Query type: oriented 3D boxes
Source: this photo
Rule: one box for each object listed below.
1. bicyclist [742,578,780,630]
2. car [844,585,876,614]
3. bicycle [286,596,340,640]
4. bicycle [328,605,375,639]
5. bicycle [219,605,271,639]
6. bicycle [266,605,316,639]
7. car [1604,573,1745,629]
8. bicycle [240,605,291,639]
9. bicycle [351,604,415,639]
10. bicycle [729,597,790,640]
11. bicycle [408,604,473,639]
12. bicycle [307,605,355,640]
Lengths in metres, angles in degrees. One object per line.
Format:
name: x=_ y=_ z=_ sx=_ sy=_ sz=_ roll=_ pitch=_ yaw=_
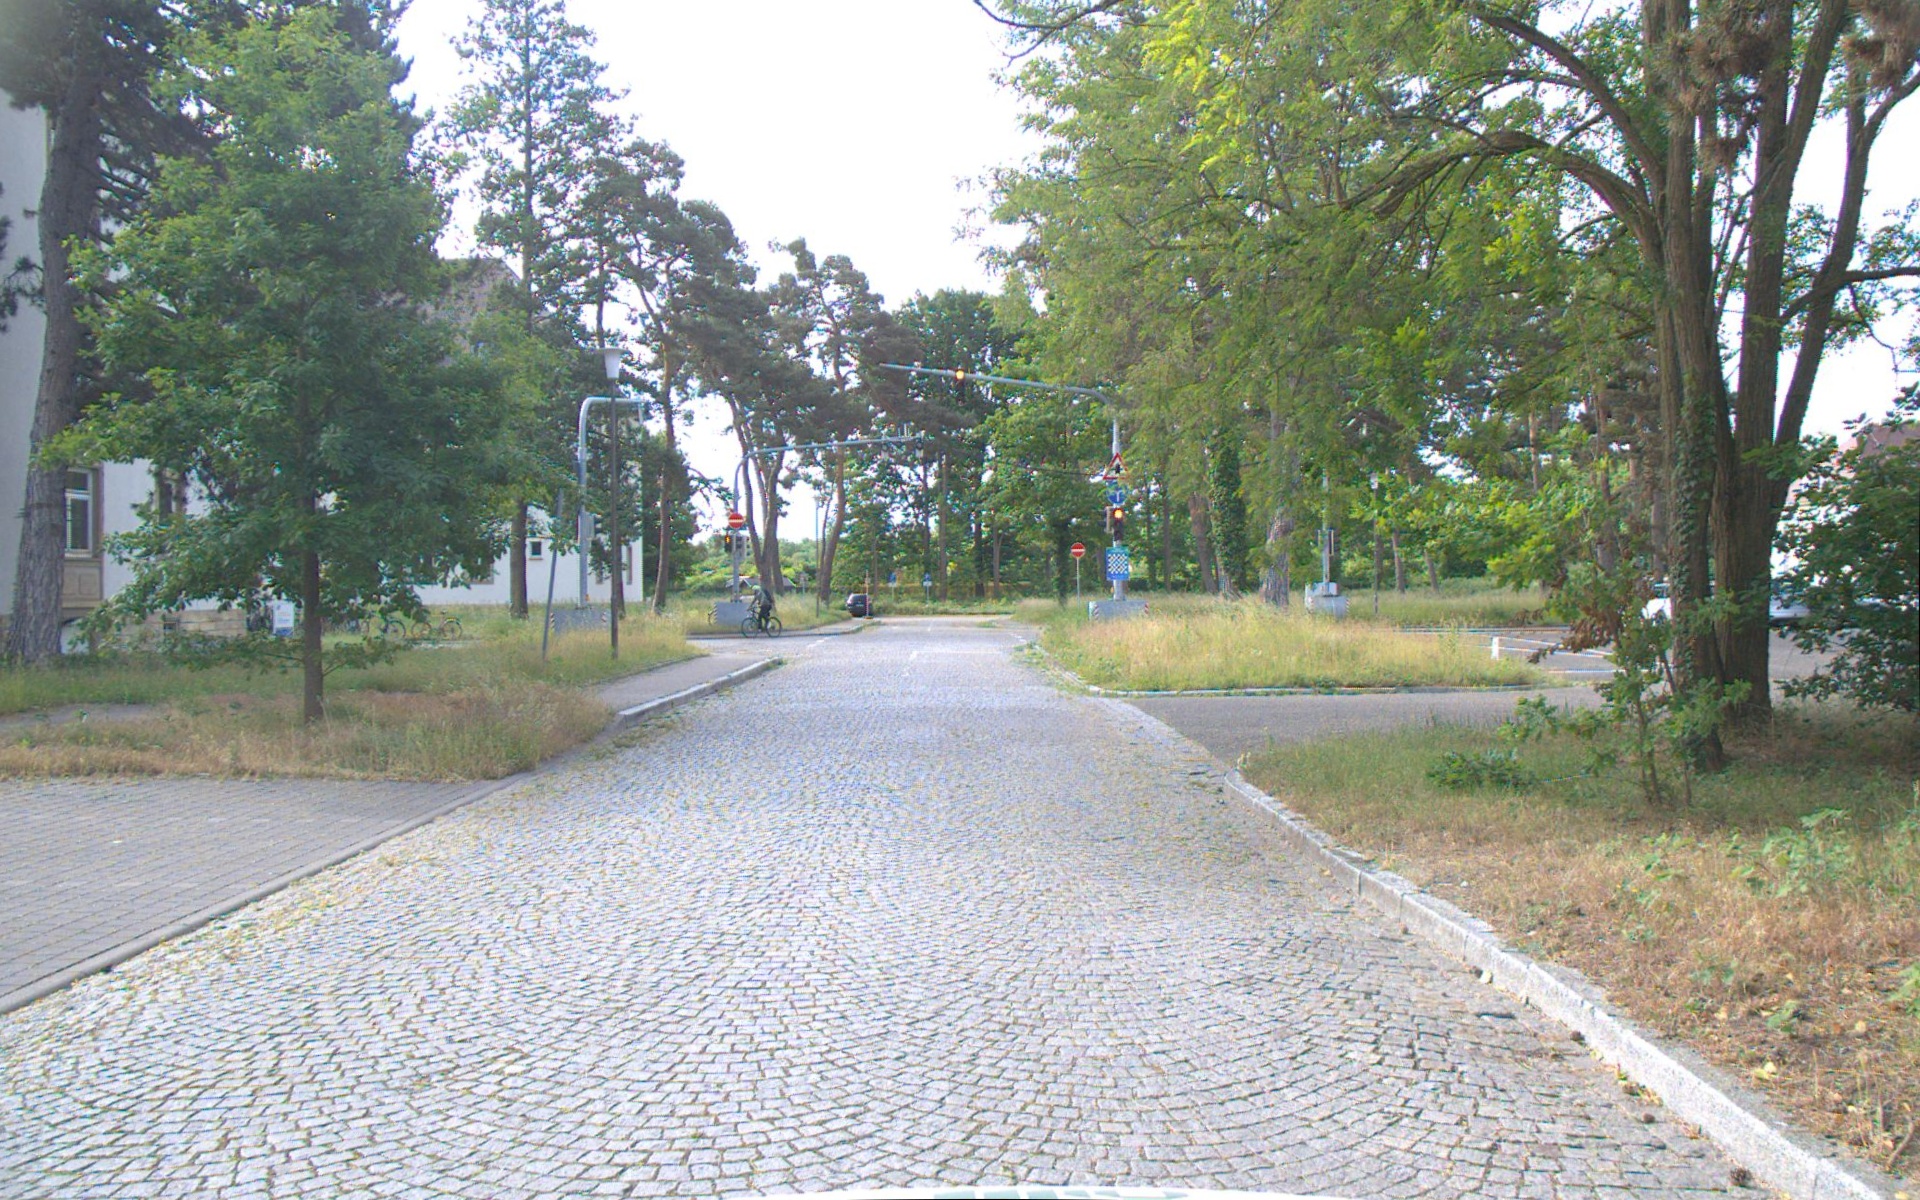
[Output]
bicyclist: x=-6.775 y=0.142 z=56.305 sx=0.936 sy=1.727 sz=0.921 roll=-1 pitch=-1 yaw=31
car: x=-6.714 y=-0.033 z=111.231 sx=2.014 sy=1.878 sz=3.999 roll=-1 pitch=0 yaw=-2
bicycle: x=-21.553 y=0.591 z=55.160 sx=0.721 sy=1.410 sz=2.711 roll=-1 pitch=0 yaw=0
bicycle: x=-20.189 y=0.722 z=54.906 sx=0.721 sy=1.095 sz=2.273 roll=-1 pitch=0 yaw=0
bicycle: x=-23.686 y=0.719 z=54.816 sx=0.721 sy=1.095 sz=2.273 roll=-1 pitch=0 yaw=0
bicycle: x=-22.339 y=0.733 z=55.258 sx=0.721 sy=1.095 sz=2.273 roll=-1 pitch=0 yaw=0
car: x=20.692 y=0.058 z=48.118 sx=1.954 sy=1.507 sz=4.421 roll=-1 pitch=-1 yaw=-4
bicycle: x=-22.967 y=0.715 z=54.755 sx=0.721 sy=1.095 sz=2.273 roll=-1 pitch=0 yaw=0
bicycle: x=-18.715 y=0.703 z=53.678 sx=1.818 sy=1.095 sz=0.738 roll=-1 pitch=0 yaw=1
bicycle: x=-6.808 y=0.607 z=56.244 sx=0.918 sy=1.411 sz=2.181 roll=-1 pitch=0 yaw=31
bicycle: x=-16.864 y=0.693 z=53.744 sx=1.818 sy=1.095 sz=0.831 roll=-1 pitch=0 yaw=1
bicycle: x=-20.817 y=0.736 z=54.816 sx=0.721 sy=1.095 sz=2.273 roll=-1 pitch=0 yaw=0
